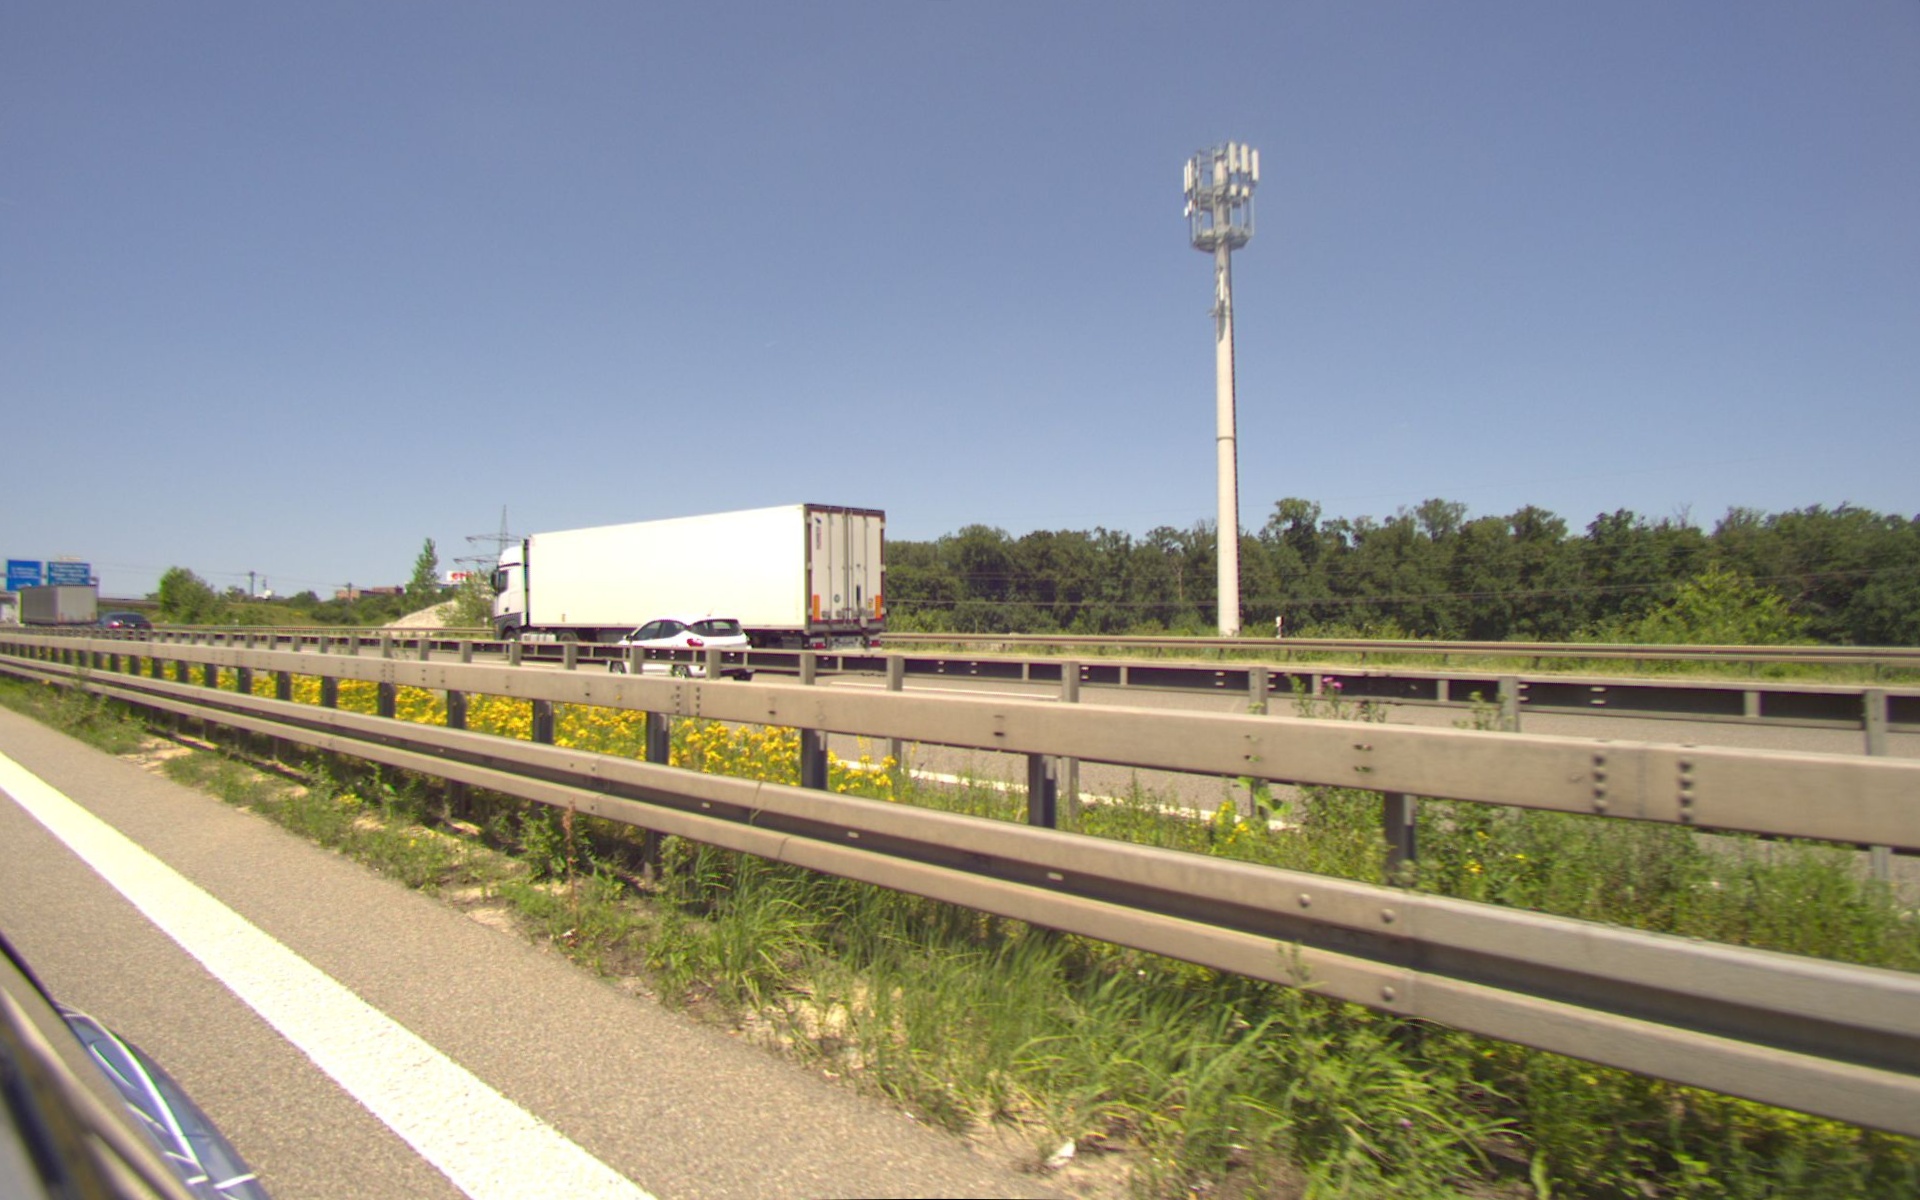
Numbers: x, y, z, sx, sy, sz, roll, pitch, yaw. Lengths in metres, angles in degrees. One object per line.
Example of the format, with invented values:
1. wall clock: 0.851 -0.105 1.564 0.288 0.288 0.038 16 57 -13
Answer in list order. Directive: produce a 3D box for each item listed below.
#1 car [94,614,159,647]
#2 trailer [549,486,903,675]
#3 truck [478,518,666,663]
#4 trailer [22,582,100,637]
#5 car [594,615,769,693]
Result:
1. car: -45.175 1.627 54.821 4.660 1.657 1.973 -1 -1 40
2. trailer: -6.984 -0.345 27.989 12.243 4.272 3.003 -1 -1 42
3. truck: -12.809 -0.231 33.139 6.682 4.272 3.003 -1 -1 41
4. trailer: -72.891 0.815 81.929 12.574 4.144 2.861 -1 -1 40
5. car: -6.082 1.101 21.868 4.005 1.500 1.723 -1 -1 41
